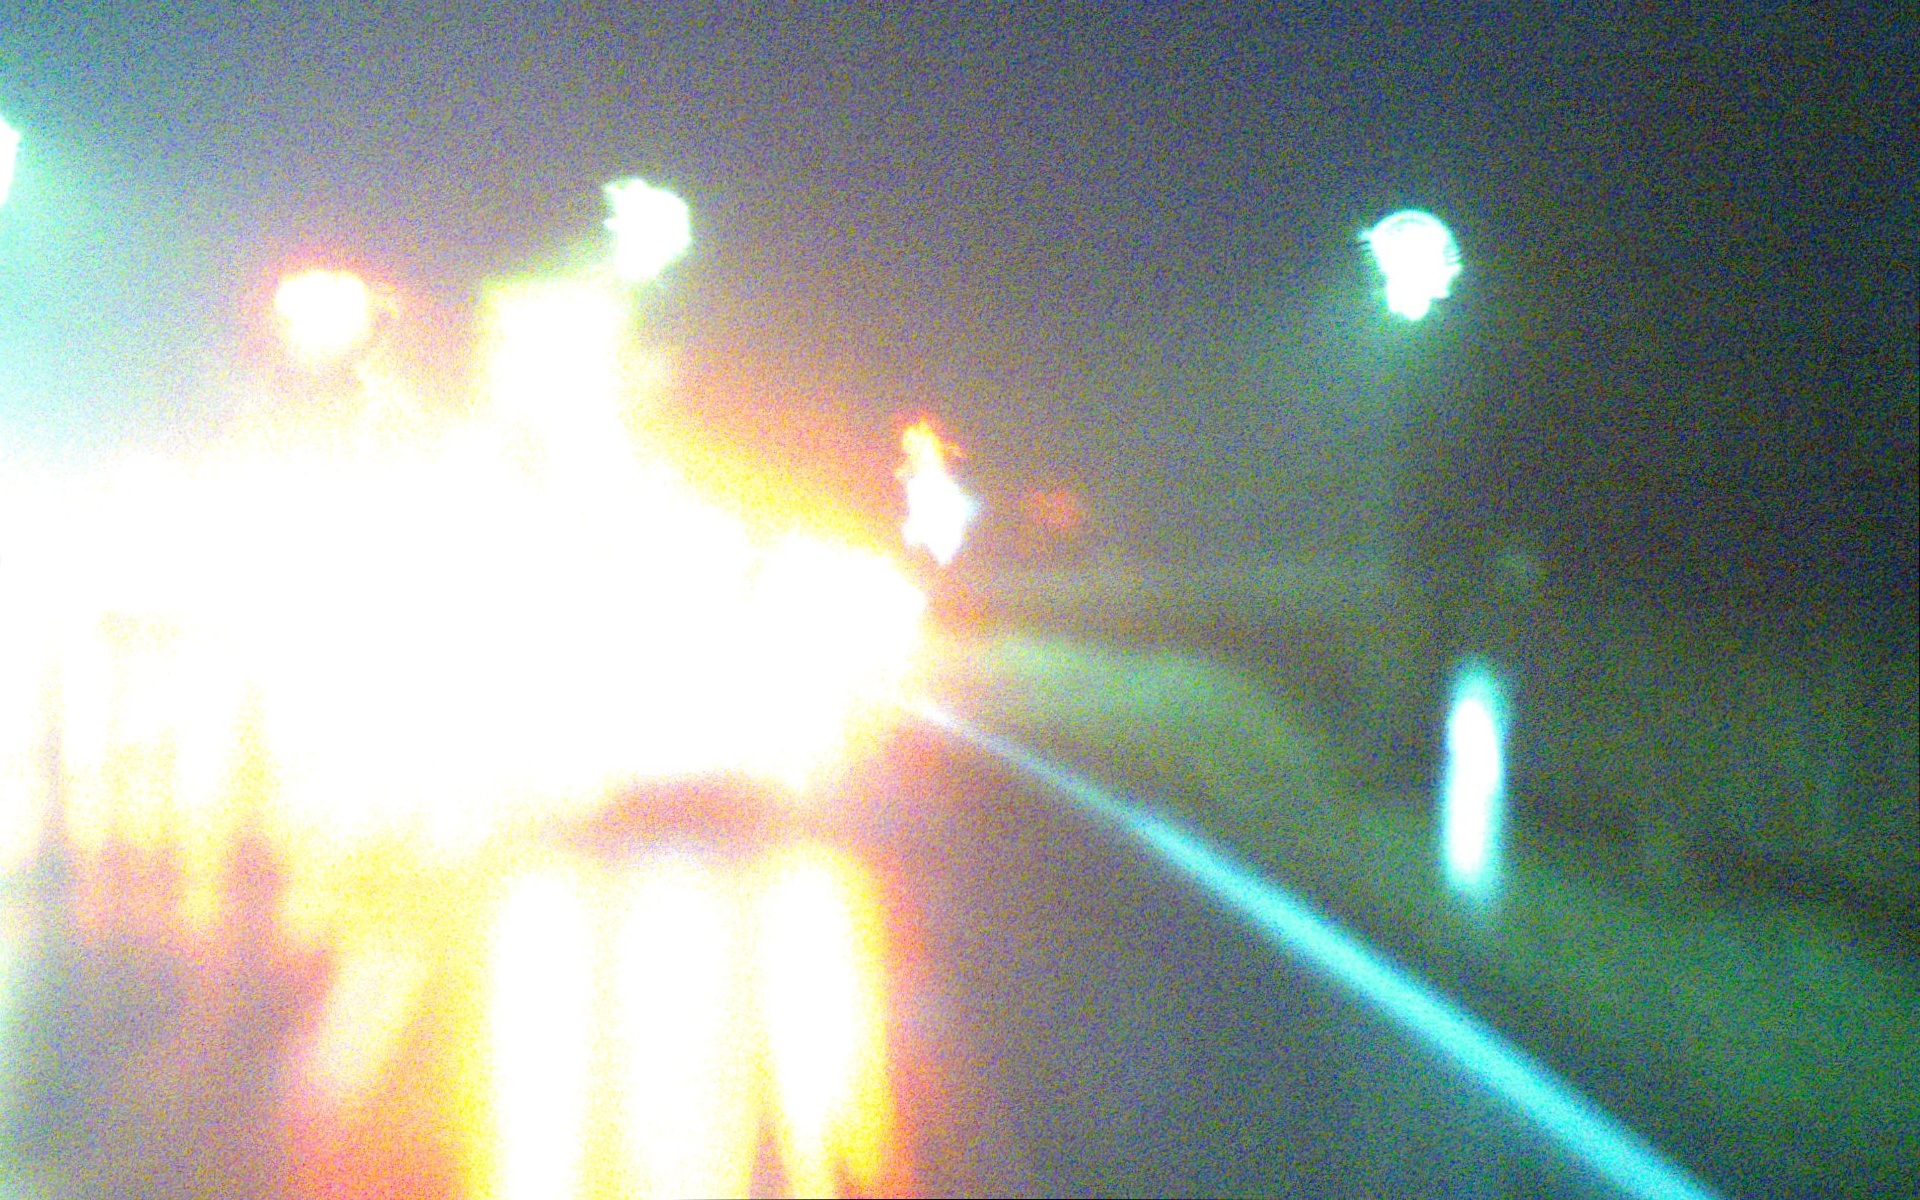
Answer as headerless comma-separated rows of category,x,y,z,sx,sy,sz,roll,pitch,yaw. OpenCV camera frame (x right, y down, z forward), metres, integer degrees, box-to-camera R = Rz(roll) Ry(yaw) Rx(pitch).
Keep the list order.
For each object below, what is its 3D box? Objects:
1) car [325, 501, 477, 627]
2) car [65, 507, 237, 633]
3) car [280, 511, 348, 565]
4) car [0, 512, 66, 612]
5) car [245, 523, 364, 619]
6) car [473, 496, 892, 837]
car,-7.977,-0.562,49.097,1.993,1.622,4.986,-2,2,-9
car,-11.552,-0.481,49.366,1.993,1.622,4.986,-2,2,-9
car,-20.682,-1.999,109.931,1.993,1.622,4.986,-2,2,-12
car,-16.928,-0.679,60.136,1.993,1.622,4.986,-2,2,-9
car,-12.233,-0.586,64.397,1.993,1.622,4.986,-2,2,-9
car,-1.538,0.317,19.079,1.993,1.622,4.985,1,0,-5
